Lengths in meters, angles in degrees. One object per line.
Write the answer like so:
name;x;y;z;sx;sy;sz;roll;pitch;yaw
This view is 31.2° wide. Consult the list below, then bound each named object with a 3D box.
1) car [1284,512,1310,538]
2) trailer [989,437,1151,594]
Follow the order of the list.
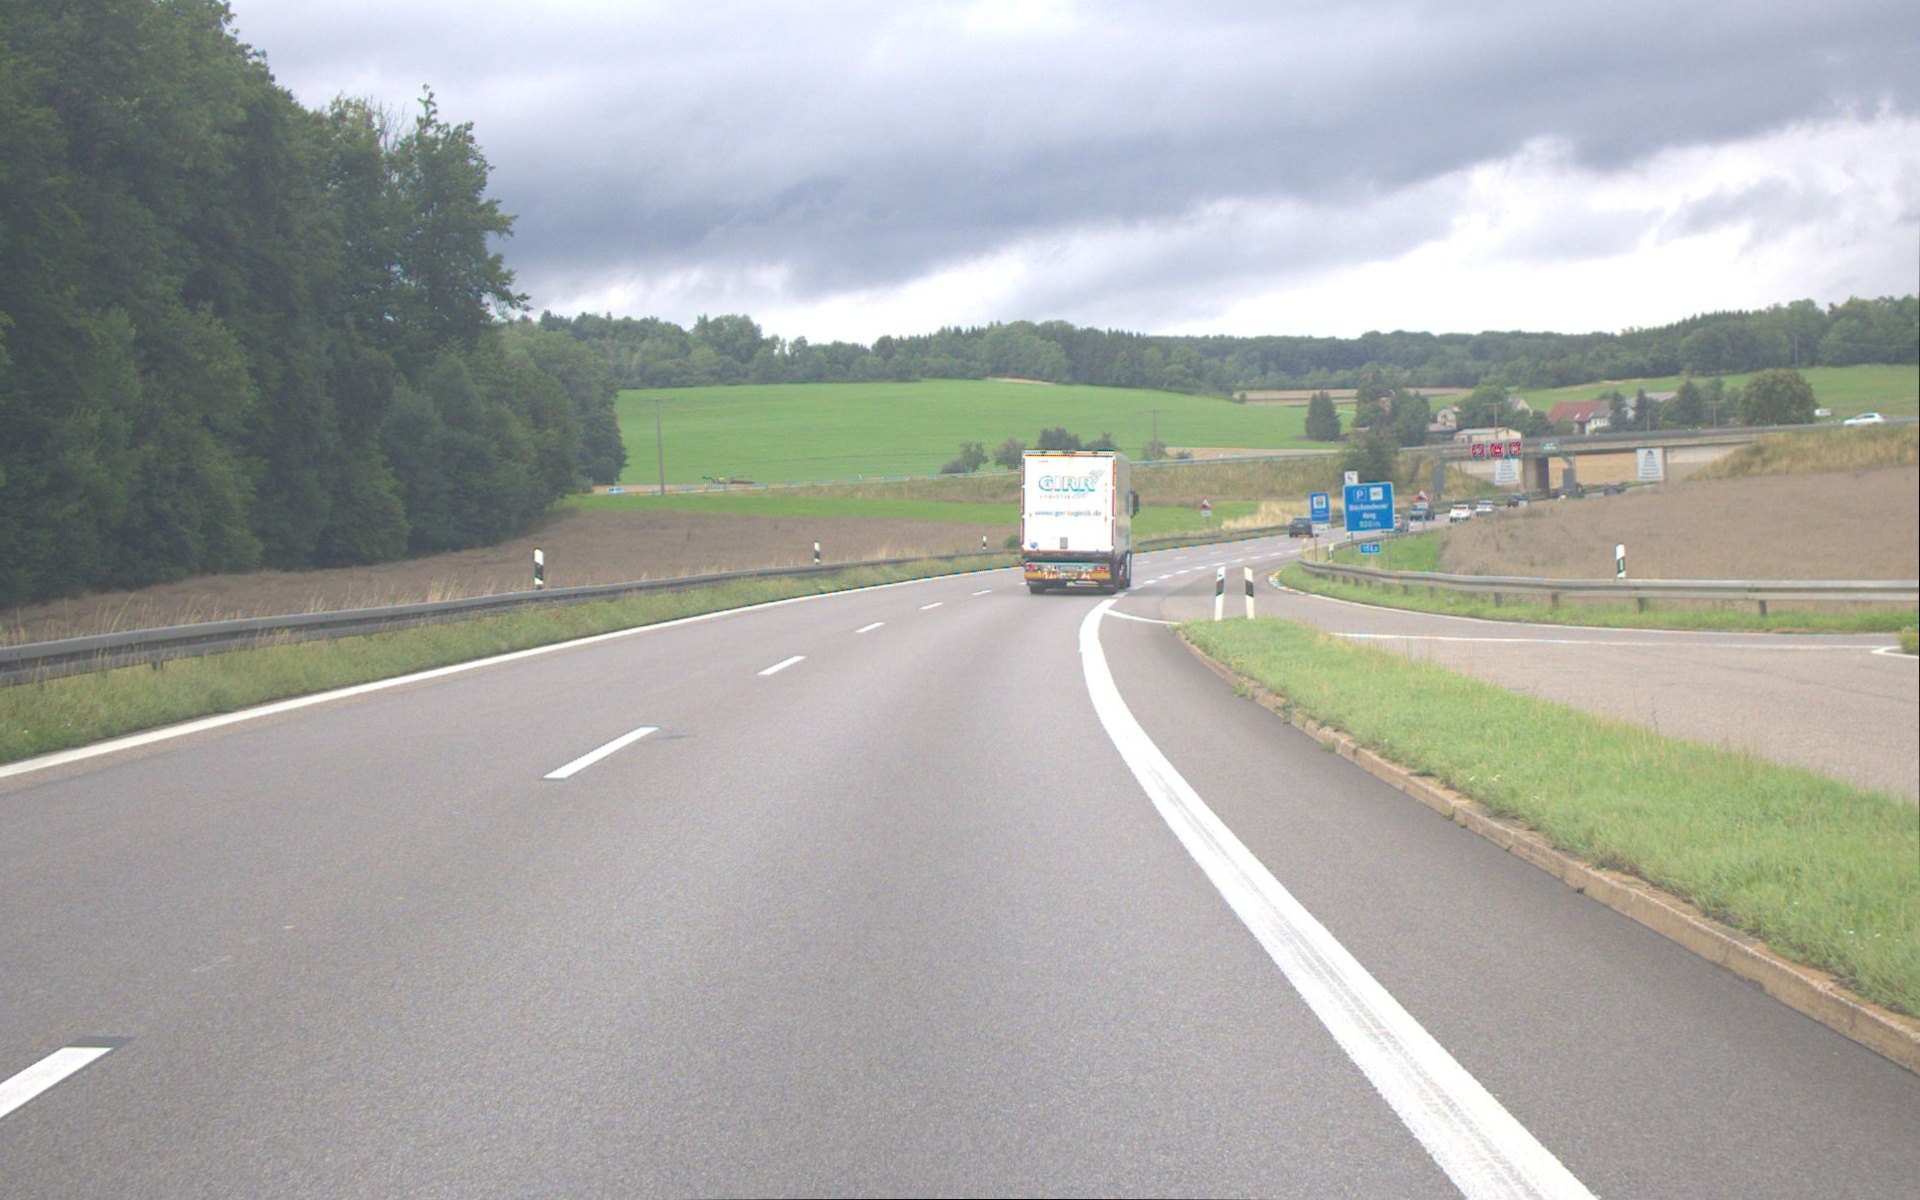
car;25.516;-5.646;260.073;1.903;1.789;3.999;-1;-1;7
trailer;3.357;-2.425;99.978;3.806;4.160;14.806;1;1;5
